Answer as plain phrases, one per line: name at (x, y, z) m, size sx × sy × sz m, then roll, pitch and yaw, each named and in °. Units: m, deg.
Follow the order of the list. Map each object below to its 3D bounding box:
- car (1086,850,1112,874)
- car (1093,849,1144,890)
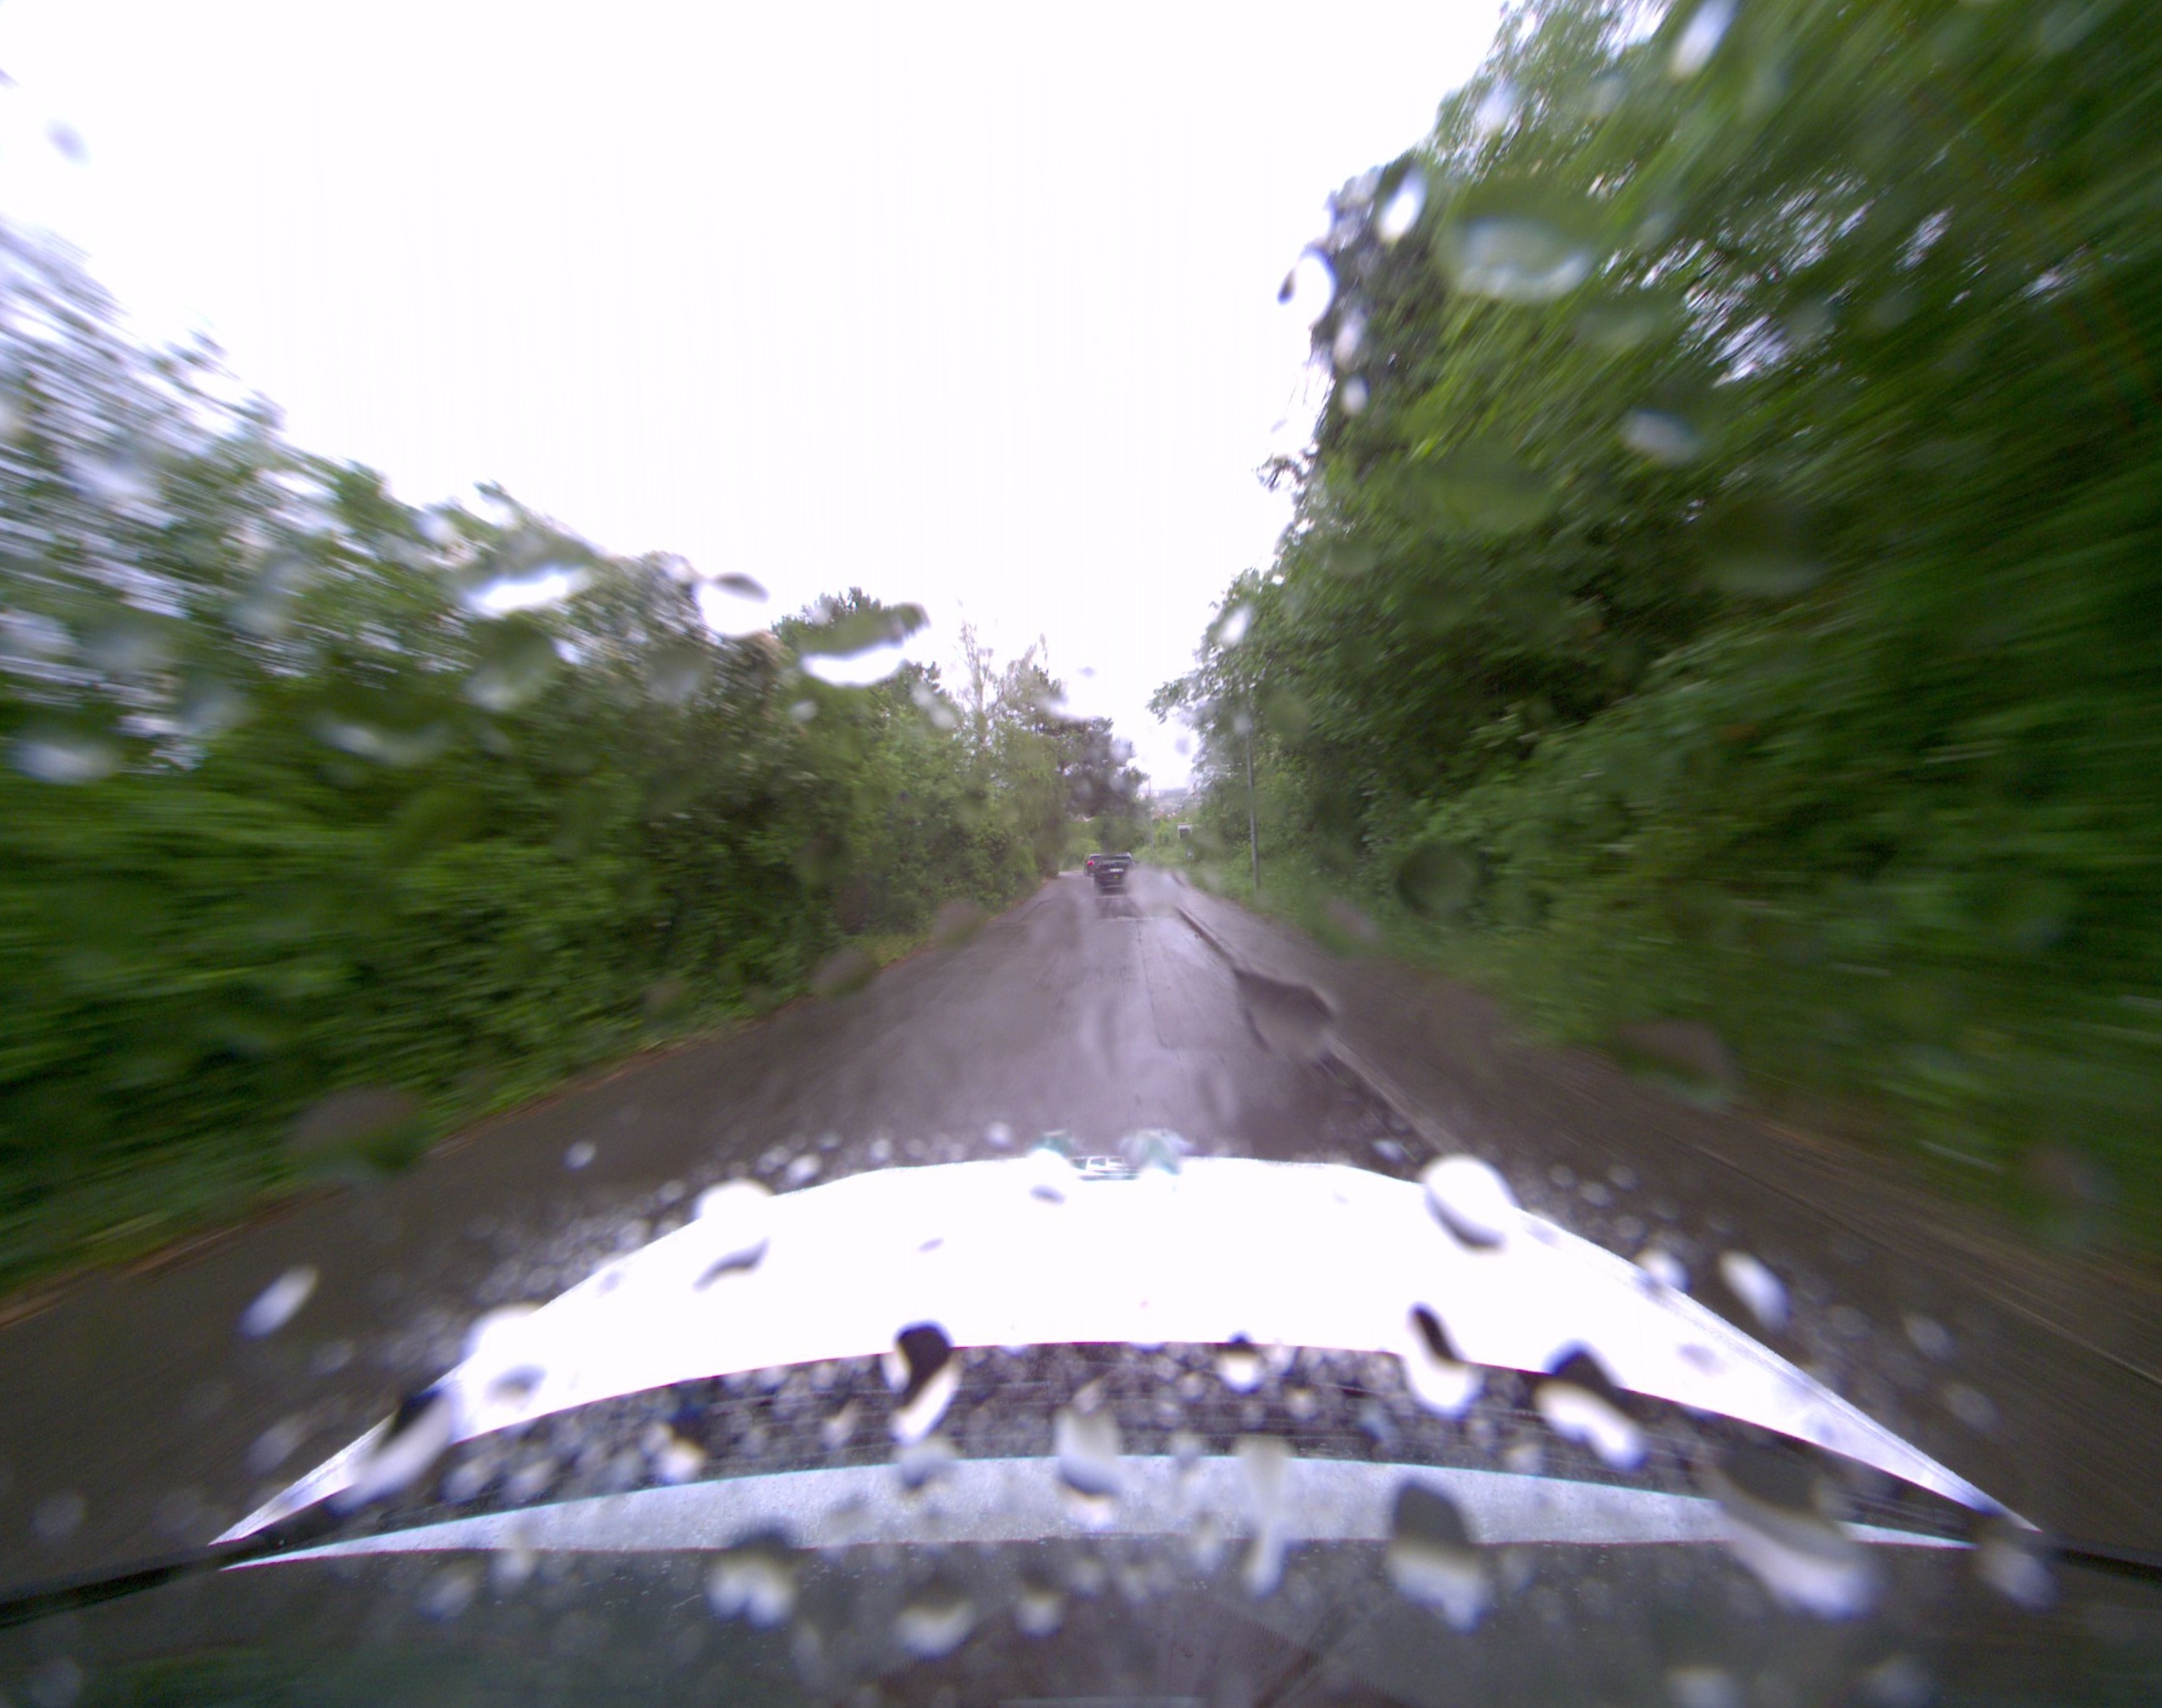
car at (1.250, 0.532, 56.887) m, size 1.672 × 1.565 × 3.795 m, roll -2°, pitch 0°, yaw 1°
car at (1.460, 0.596, 32.599) m, size 1.828 × 1.464 × 4.001 m, roll -3°, pitch 0°, yaw 1°
